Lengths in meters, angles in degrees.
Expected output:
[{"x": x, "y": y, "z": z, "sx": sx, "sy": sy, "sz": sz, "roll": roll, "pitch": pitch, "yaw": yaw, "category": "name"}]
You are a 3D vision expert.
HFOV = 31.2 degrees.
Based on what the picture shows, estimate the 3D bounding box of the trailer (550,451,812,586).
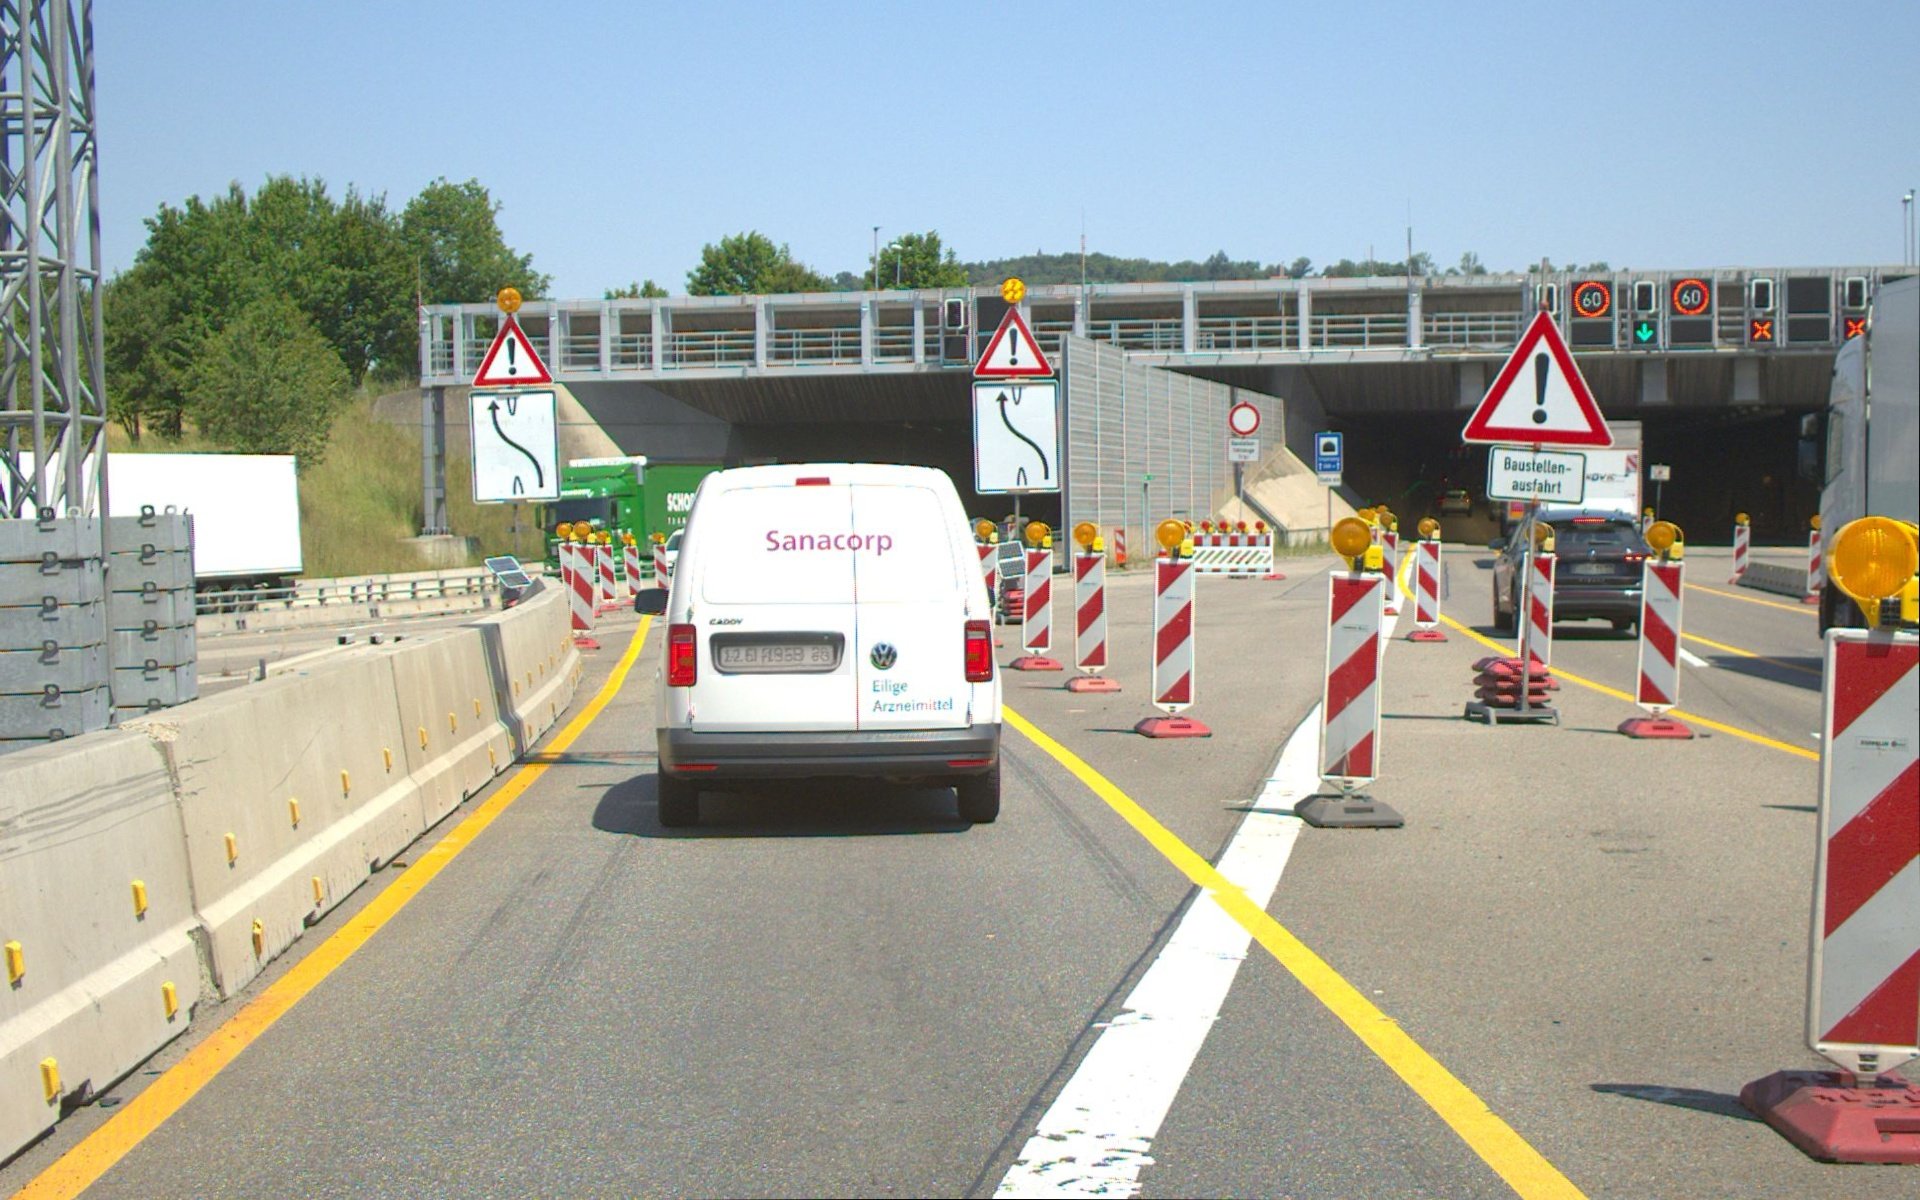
[{"x": -9.166, "y": -2.698, "z": 115.755, "sx": 3.549, "sy": 4.255, "sz": 13.896, "roll": 0, "pitch": 1, "yaw": 19, "category": "trailer"}]

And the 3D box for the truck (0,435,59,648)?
[{"x": -21.505, "y": -1.253, "z": 72.574, "sx": 2.666, "sy": 4.484, "sz": 4.839, "roll": 1, "pitch": 1, "yaw": 17, "category": "truck"}]

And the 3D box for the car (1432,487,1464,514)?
[{"x": 30.314, "y": -6.190, "z": 213.585, "sx": 1.815, "sy": 1.624, "sz": 4.189, "roll": 1, "pitch": 1, "yaw": 6, "category": "car"}]

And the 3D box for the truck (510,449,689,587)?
[{"x": -11.405, "y": -2.579, "z": 109.252, "sx": 3.549, "sy": 4.255, "sz": 5.774, "roll": 0, "pitch": 1, "yaw": 19, "category": "truck"}]

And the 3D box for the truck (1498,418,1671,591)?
[{"x": 17.044, "y": -2.460, "z": 94.961, "sx": 3.402, "sy": 4.320, "sz": 16.532, "roll": 1, "pitch": 0, "yaw": 6, "category": "truck"}]

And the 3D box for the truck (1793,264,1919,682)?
[{"x": 10.597, "y": -1.244, "z": 35.056, "sx": 2.745, "sy": 4.019, "sz": 5.927, "roll": 1, "pitch": 1, "yaw": 1, "category": "truck"}]

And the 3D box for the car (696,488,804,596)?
[{"x": -3.735, "y": -1.048, "z": 61.685, "sx": 1.808, "sy": 1.809, "sz": 4.410, "roll": -1, "pitch": 1, "yaw": -2, "category": "car"}]

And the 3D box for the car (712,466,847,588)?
[{"x": -4.231, "y": -1.694, "z": 81.831, "sx": 2.814, "sy": 2.764, "sz": 7.101, "roll": 0, "pitch": 1, "yaw": 0, "category": "car"}]

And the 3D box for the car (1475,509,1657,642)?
[{"x": 7.819, "y": -0.345, "z": 44.705, "sx": 1.815, "sy": 1.624, "sz": 4.190, "roll": 1, "pitch": 1, "yaw": 3, "category": "car"}]

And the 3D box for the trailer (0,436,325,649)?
[{"x": -19.388, "y": -1.382, "z": 79.688, "sx": 2.666, "sy": 4.484, "sz": 14.918, "roll": 1, "pitch": 1, "yaw": 17, "category": "trailer"}]

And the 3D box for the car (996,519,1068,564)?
[{"x": 2.735, "y": -2.215, "z": 129.311, "sx": 1.717, "sy": 1.618, "sz": 4.167, "roll": -1, "pitch": 1, "yaw": 16, "category": "car"}]

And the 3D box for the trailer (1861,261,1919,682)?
[{"x": 10.534, "y": -1.131, "z": 28.048, "sx": 2.732, "sy": 4.048, "sz": 14.096, "roll": 1, "pitch": 1, "yaw": 1, "category": "trailer"}]

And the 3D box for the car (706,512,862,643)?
[{"x": -2.295, "y": -0.312, "z": 43.838, "sx": 1.808, "sy": 1.532, "sz": 4.410, "roll": -2, "pitch": 1, "yaw": -5, "category": "car"}]

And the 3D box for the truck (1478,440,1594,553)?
[{"x": 22.222, "y": -3.918, "z": 133.535, "sx": 3.402, "sy": 4.057, "sz": 16.533, "roll": 1, "pitch": 1, "yaw": 6, "category": "truck"}]

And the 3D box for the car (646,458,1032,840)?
[{"x": -0.673, "y": 0.199, "z": 18.386, "sx": 1.808, "sy": 1.788, "sz": 3.731, "roll": -1, "pitch": 1, "yaw": -3, "category": "car"}]
